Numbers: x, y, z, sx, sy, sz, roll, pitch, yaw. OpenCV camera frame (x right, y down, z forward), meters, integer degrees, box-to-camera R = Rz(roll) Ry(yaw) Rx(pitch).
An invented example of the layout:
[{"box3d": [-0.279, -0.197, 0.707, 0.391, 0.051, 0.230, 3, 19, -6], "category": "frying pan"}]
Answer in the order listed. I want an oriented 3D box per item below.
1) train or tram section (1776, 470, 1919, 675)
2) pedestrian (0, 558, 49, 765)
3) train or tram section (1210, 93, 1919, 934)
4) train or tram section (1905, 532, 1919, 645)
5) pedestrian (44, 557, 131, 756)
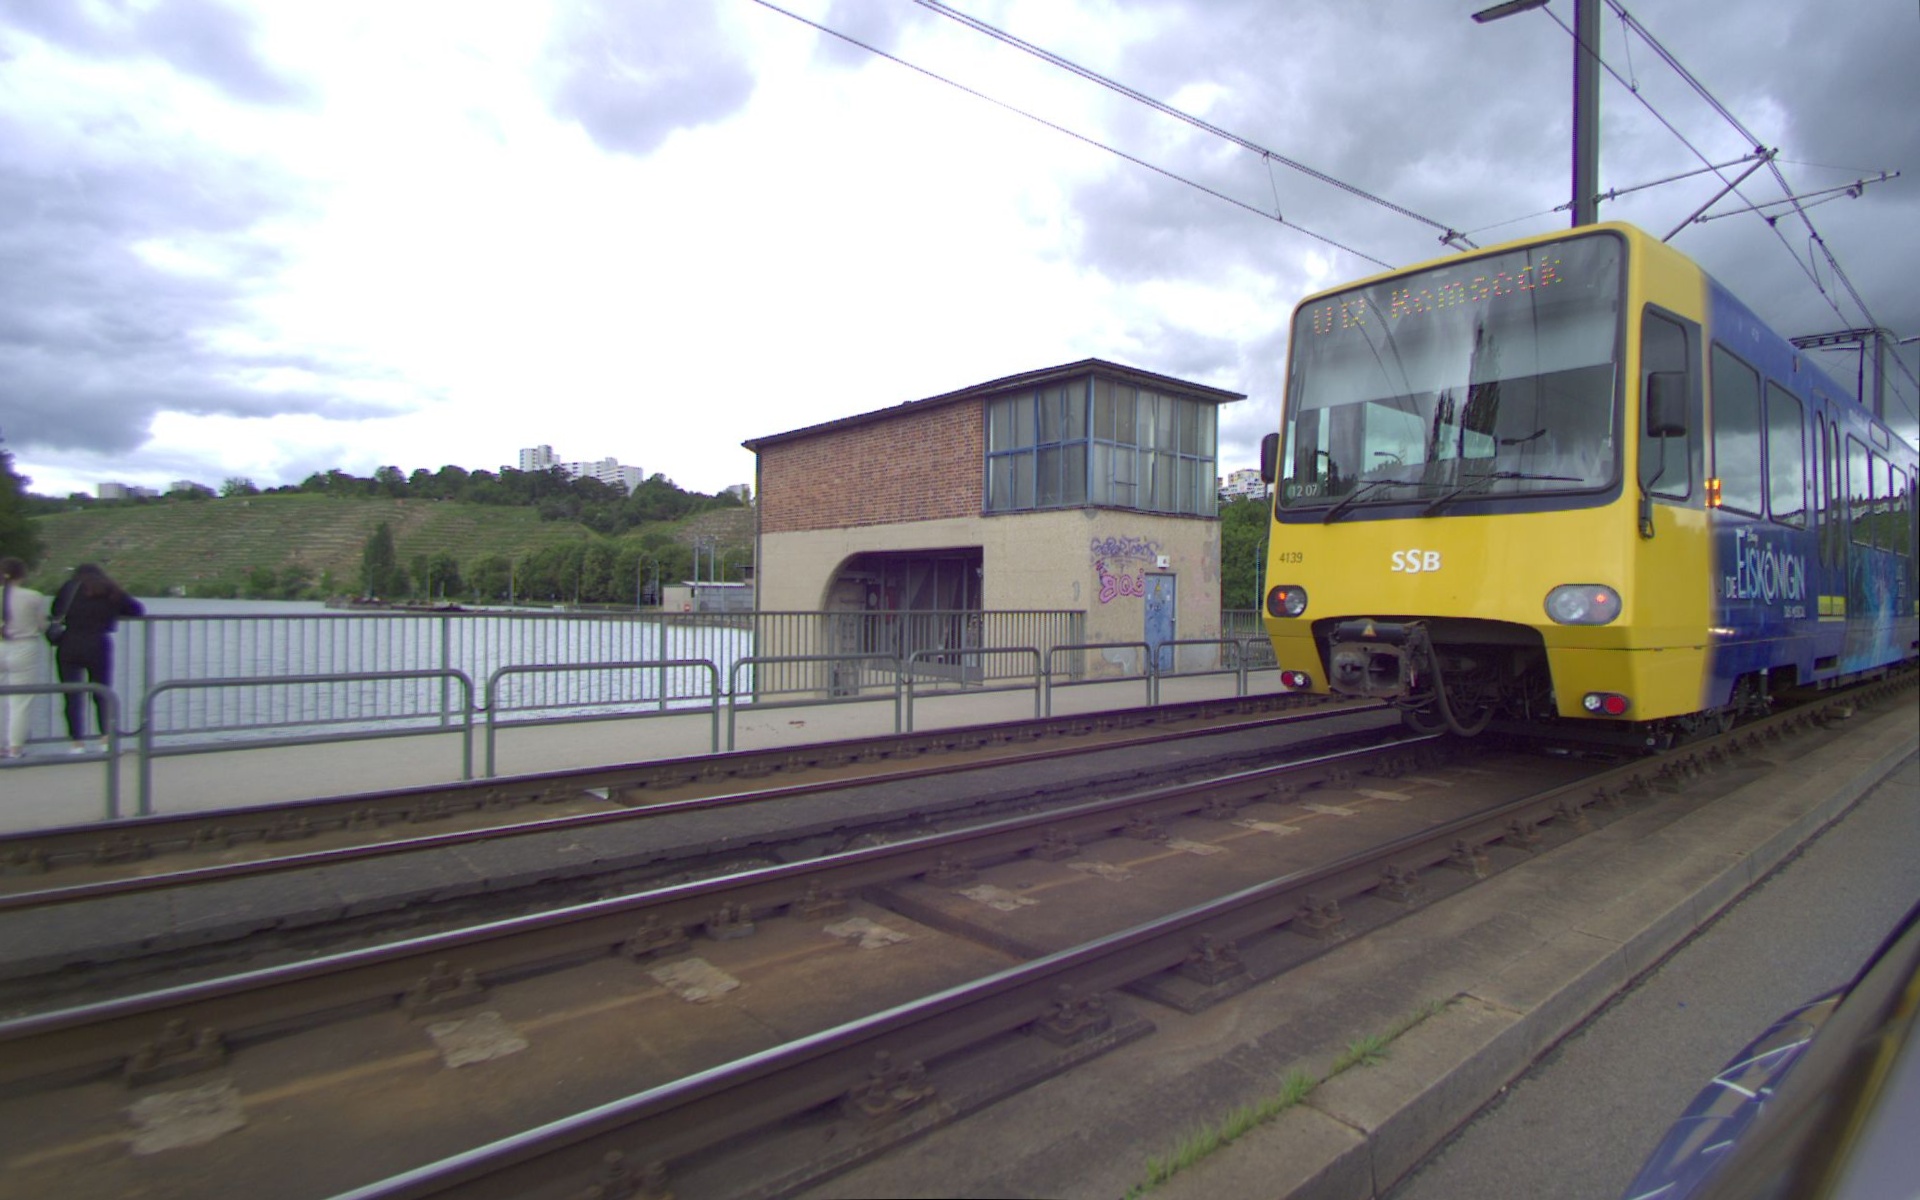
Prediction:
[{"box3d": [24.302, -0.539, 25.234, 19.546, 3.700, 2.790, 0, 3, -41], "category": "train or tram section"}, {"box3d": [-7.782, 0.488, 8.226, 0.434, 1.647, 0.348, 2, 1, -22], "category": "pedestrian"}, {"box3d": [9.829, -0.421, 12.192, 19.550, 3.812, 2.797, 0, 0, -42], "category": "train or tram section"}, {"box3d": [38.467, -0.242, 37.759, 18.341, 3.624, 2.835, 1, 2, -41], "category": "train or tram section"}, {"box3d": [-7.491, 0.475, 8.703, 0.450, 1.668, 0.332, 2, 1, -22], "category": "pedestrian"}]
